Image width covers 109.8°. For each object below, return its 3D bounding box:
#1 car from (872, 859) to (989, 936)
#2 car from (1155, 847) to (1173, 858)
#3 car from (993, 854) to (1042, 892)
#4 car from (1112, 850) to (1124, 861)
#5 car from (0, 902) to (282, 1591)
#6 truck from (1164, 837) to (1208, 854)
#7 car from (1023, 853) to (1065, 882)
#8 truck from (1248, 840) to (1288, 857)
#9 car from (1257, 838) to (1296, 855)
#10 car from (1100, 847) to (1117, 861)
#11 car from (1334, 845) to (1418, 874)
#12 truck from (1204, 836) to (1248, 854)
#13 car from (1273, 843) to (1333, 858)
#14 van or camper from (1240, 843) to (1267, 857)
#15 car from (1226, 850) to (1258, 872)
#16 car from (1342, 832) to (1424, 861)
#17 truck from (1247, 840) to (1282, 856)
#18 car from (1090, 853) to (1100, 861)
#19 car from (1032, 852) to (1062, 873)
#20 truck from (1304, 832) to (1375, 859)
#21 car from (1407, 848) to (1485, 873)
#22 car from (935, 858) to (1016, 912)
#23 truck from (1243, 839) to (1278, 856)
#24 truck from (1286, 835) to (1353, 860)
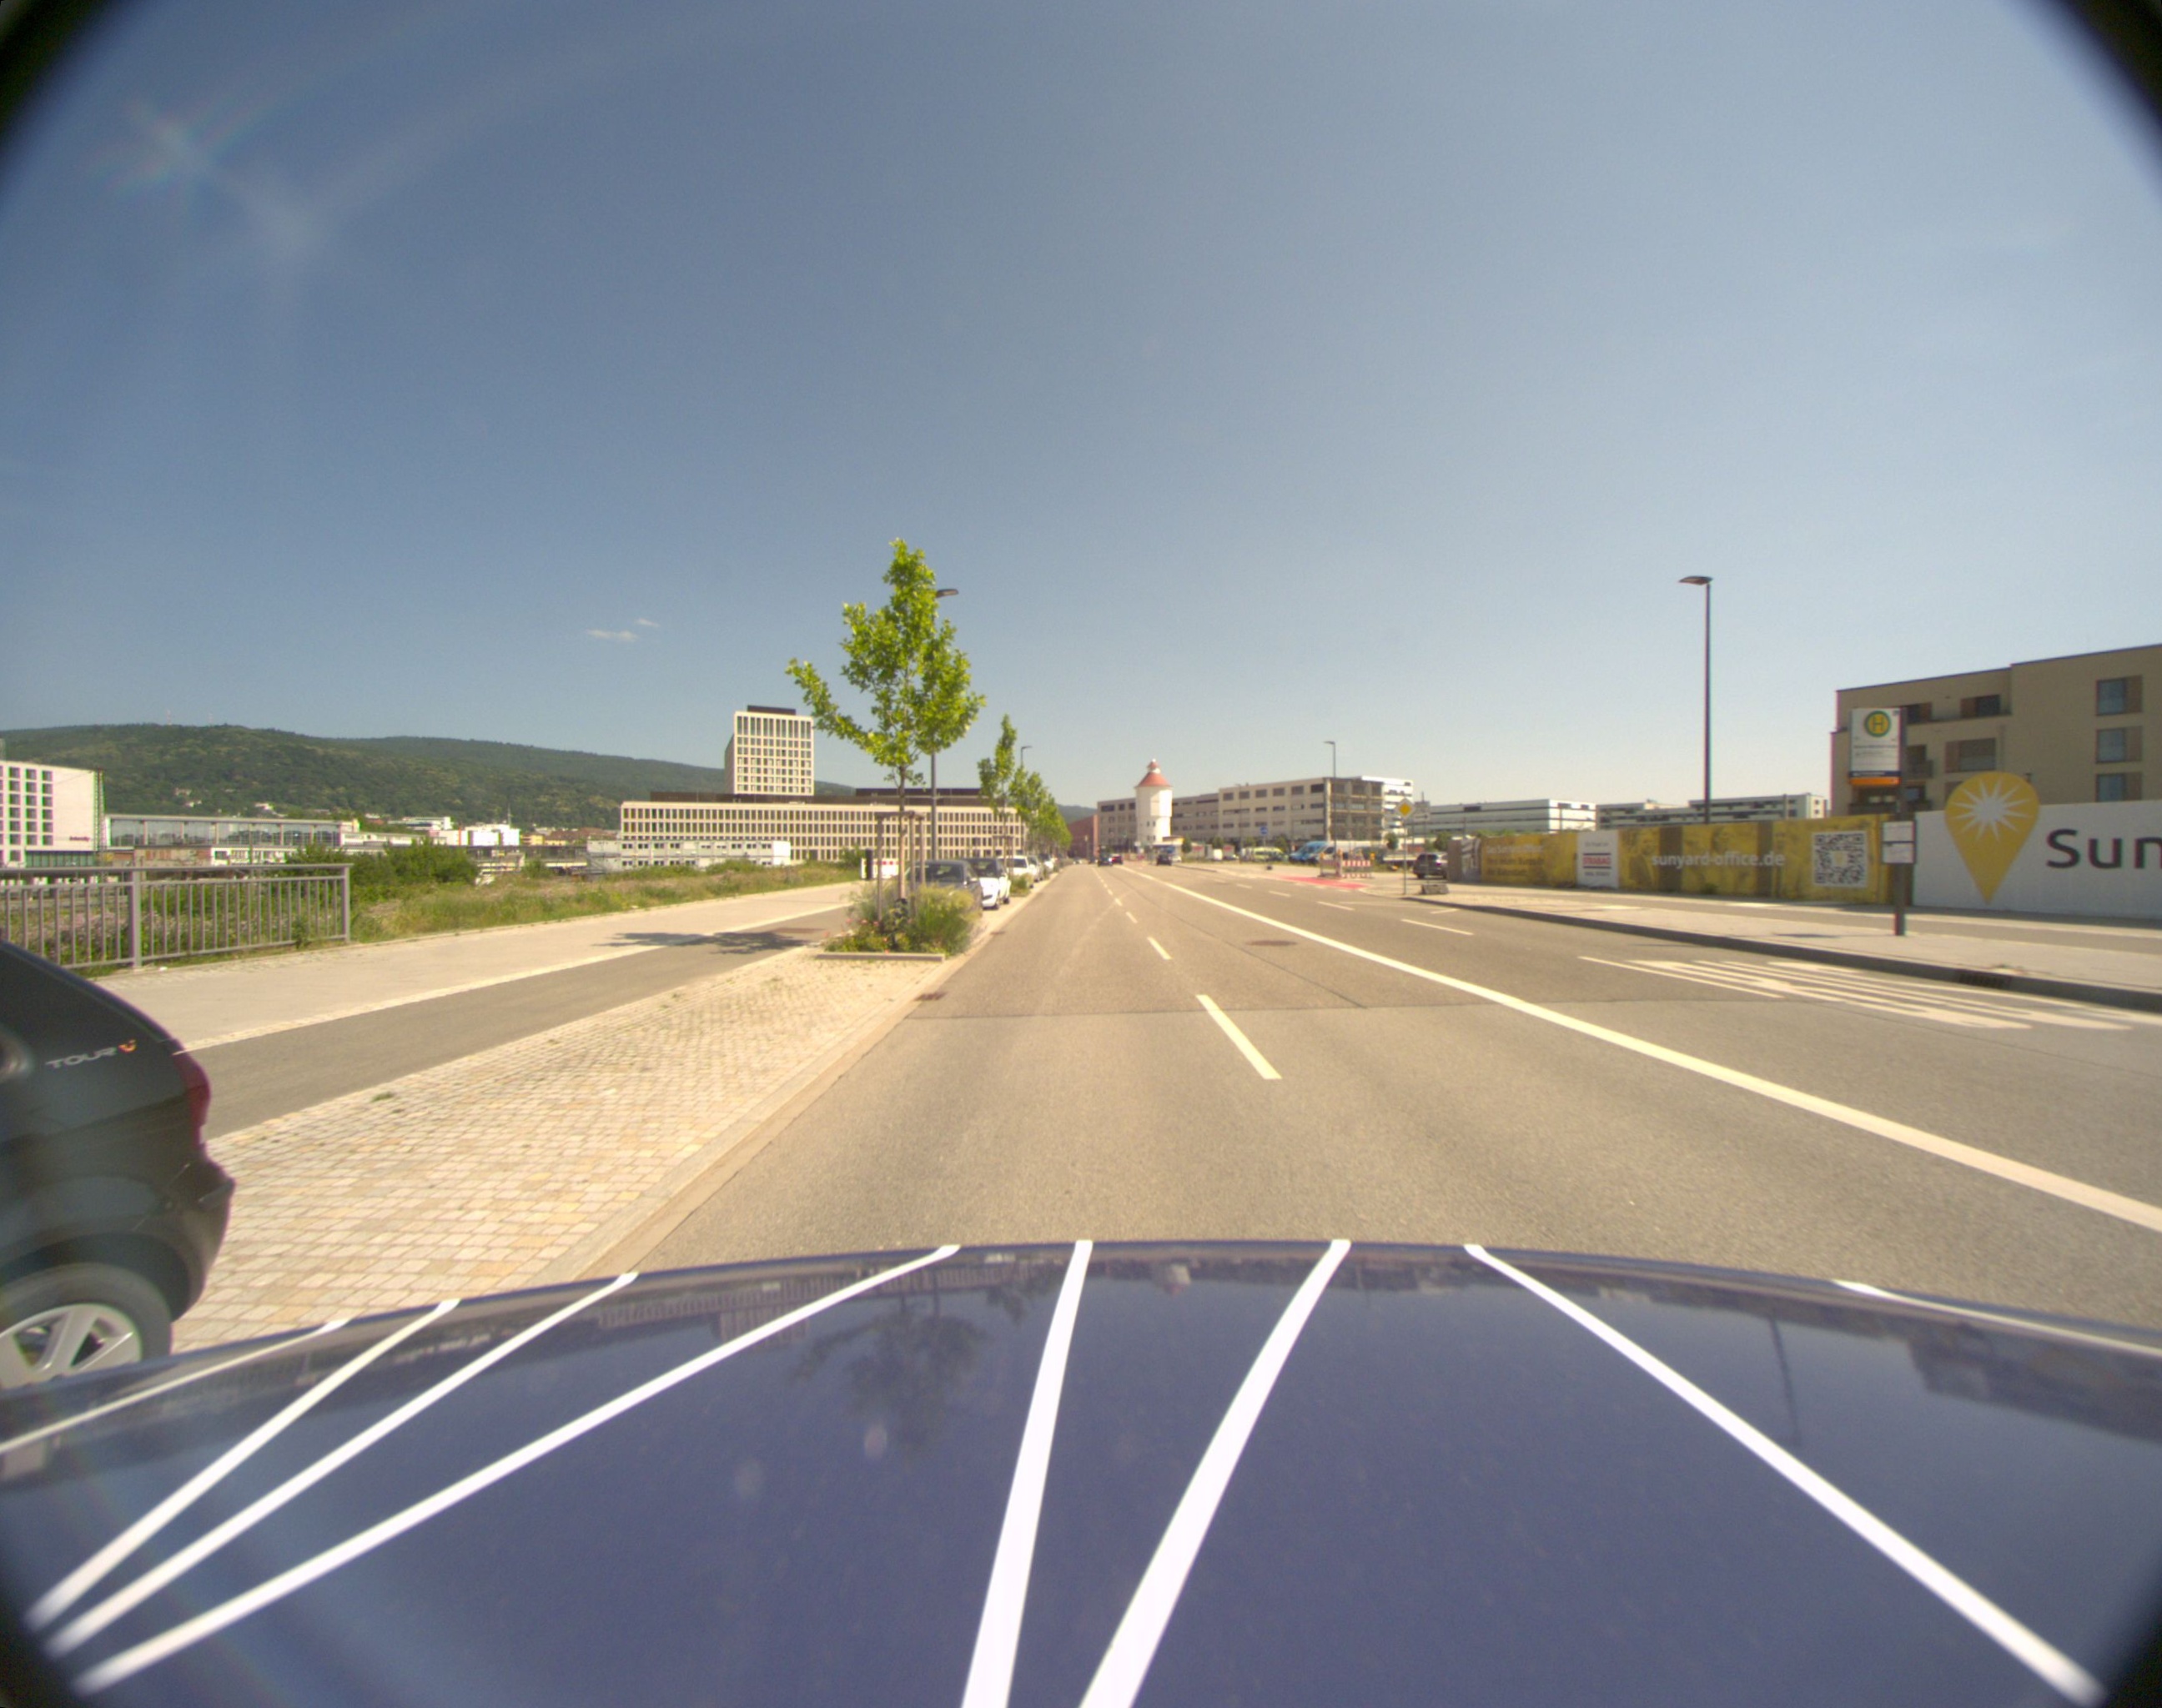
[{"bbox_3d":[-3.215,0.877,16.980,1.708,1.454,3.954,-1,0,1],"label":"car"},{"bbox_3d":[9.678,-0.188,88.991,1.708,1.344,4.455,0,1,0],"label":"car"},{"bbox_3d":[-2.656,0.776,32.599,1.750,1.500,4.001,-1,0,-1],"label":"car"},{"bbox_3d":[6.055,0.251,123.637,1.917,1.640,4.731,-1,0,3],"label":"car"},{"bbox_3d":[-3.178,0.908,0.249,1.709,1.454,3.952,1,1,-2],"label":"car"},{"bbox_3d":[27.519,-2.151,198.510,10.988,4.045,3.296,-2,2,-17],"label":"truck"},{"bbox_3d":[-1.985,0.705,41.903,1.913,1.470,4.158,0,0,3],"label":"car"},{"bbox_3d":[34.418,-0.991,140.054,6.654,2.809,2.602,-2,0,-3],"label":"truck"},{"bbox_3d":[22.070,-0.880,85.871,3.994,1.892,1.828,0,0,7],"label":"car"},{"bbox_3d":[3.194,-0.009,89.456,1.783,1.552,3.831,0,1,0],"label":"car"},{"bbox_3d":[24.028,0.455,62.082,5.896,2.153,2.396,-2,0,3],"label":"car"},{"bbox_3d":[38.353,-2.356,201.187,10.951,4.251,3.341,-2,2,-11],"label":"truck"},{"bbox_3d":[23.219,-0.381,79.501,5.666,1.465,2.106,-1,0,-2],"label":"car"},{"bbox_3d":[34.516,-0.709,152.109,4.912,2.646,2.260,-1,0,0],"label":"van or camper"},{"bbox_3d":[11.736,0.496,55.445,1.611,1.468,3.678,1,1,1],"label":"car"},{"bbox_3d":[23.495,-0.575,59.322,5.458,2.160,2.394,0,0,-3],"label":"car"},{"bbox_3d":[34.464,-1.148,143.106,5.850,2.809,2.569,-2,2,-1],"label":"truck"},{"bbox_3d":[2.604,0.541,142.866,1.783,1.552,3.832,-1,0,2],"label":"car"},{"bbox_3d":[-2.570,0.611,58.759,1.913,1.568,4.158,0,0,3],"label":"car"},{"bbox_3d":[23.292,-0.773,68.654,5.581,2.349,2.274,0,0,-1],"label":"truck"},{"bbox_3d":[19.863,0.335,41.328,4.255,1.310,1.995,0,0,-35],"label":"car"},{"bbox_3d":[-3.060,0.857,22.819,1.708,1.454,4.085,-1,0,2],"label":"car"},{"bbox_3d":[34.963,-1.300,147.990,6.160,2.885,2.570,-2,2,1],"label":"truck"},{"bbox_3d":[23.733,-0.635,75.765,6.019,2.528,2.275,0,0,0],"label":"truck"}]
